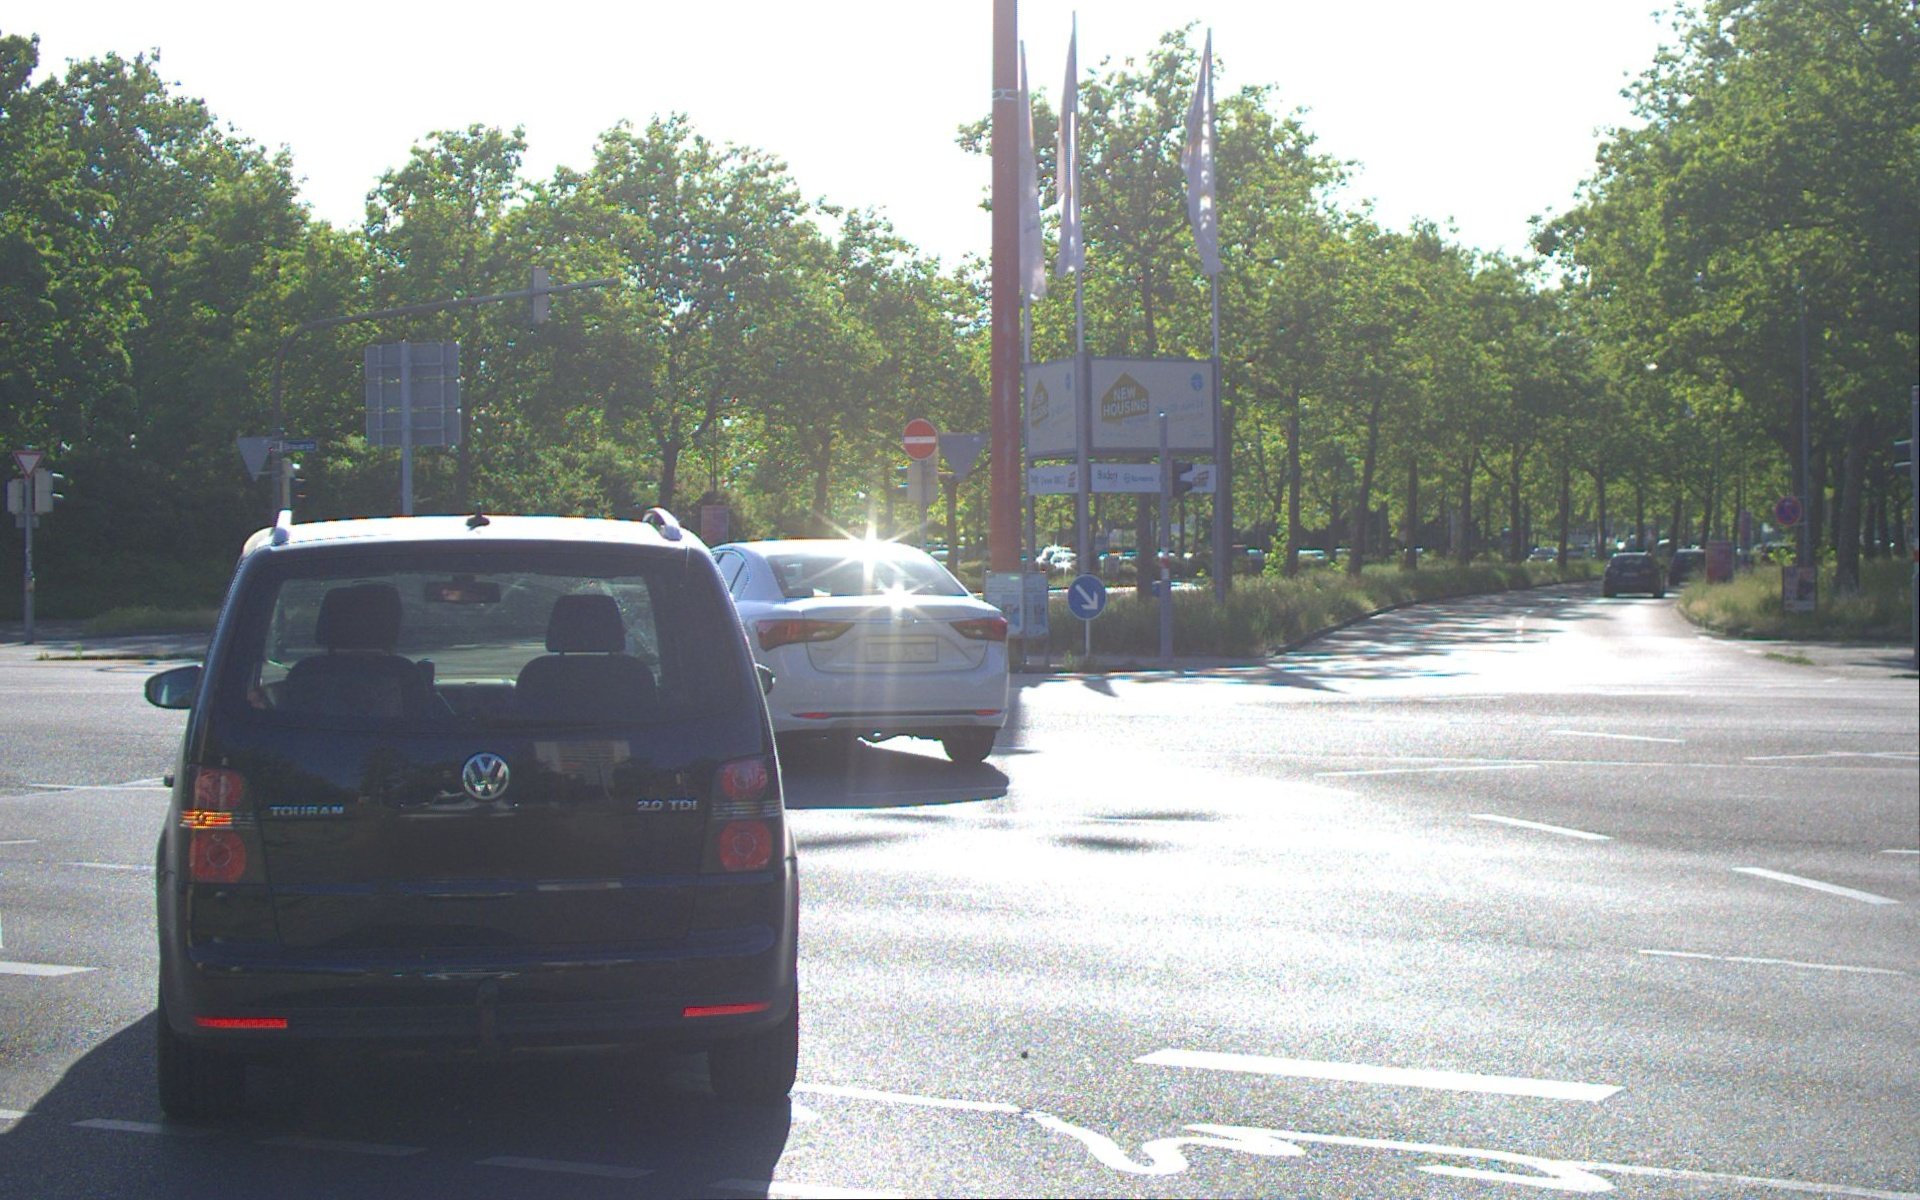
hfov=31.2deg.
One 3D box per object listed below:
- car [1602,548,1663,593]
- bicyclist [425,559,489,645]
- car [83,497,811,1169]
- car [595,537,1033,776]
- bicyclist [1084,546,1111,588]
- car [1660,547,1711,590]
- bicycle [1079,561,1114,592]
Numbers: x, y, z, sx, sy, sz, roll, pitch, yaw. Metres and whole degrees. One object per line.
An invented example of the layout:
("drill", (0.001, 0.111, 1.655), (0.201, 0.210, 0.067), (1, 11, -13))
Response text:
("car", (21.509, -0.943, 109.907), (1.791, 1.383, 4.047), (1, 1, 12))
("bicyclist", (-9.114, 0.031, 62.322), (0.760, 1.552, 0.980), (0, 1, 20))
("car", (-1.490, 0.546, 10.912), (1.767, 1.638, 4.924), (0, 1, -5))
("car", (-1.104, 0.320, 23.342), (1.767, 1.459, 4.367), (0, 1, -19))
("bicyclist", (4.794, -1.153, 120.009), (0.735, 1.431, 0.965), (0, 0, 17))
("car", (29.685, -1.284, 140.786), (1.873, 1.621, 3.998), (1, 0, 10))
("bicycle", (4.772, -0.820, 119.935), (0.735, 1.088, 2.013), (0, 0, 17))
